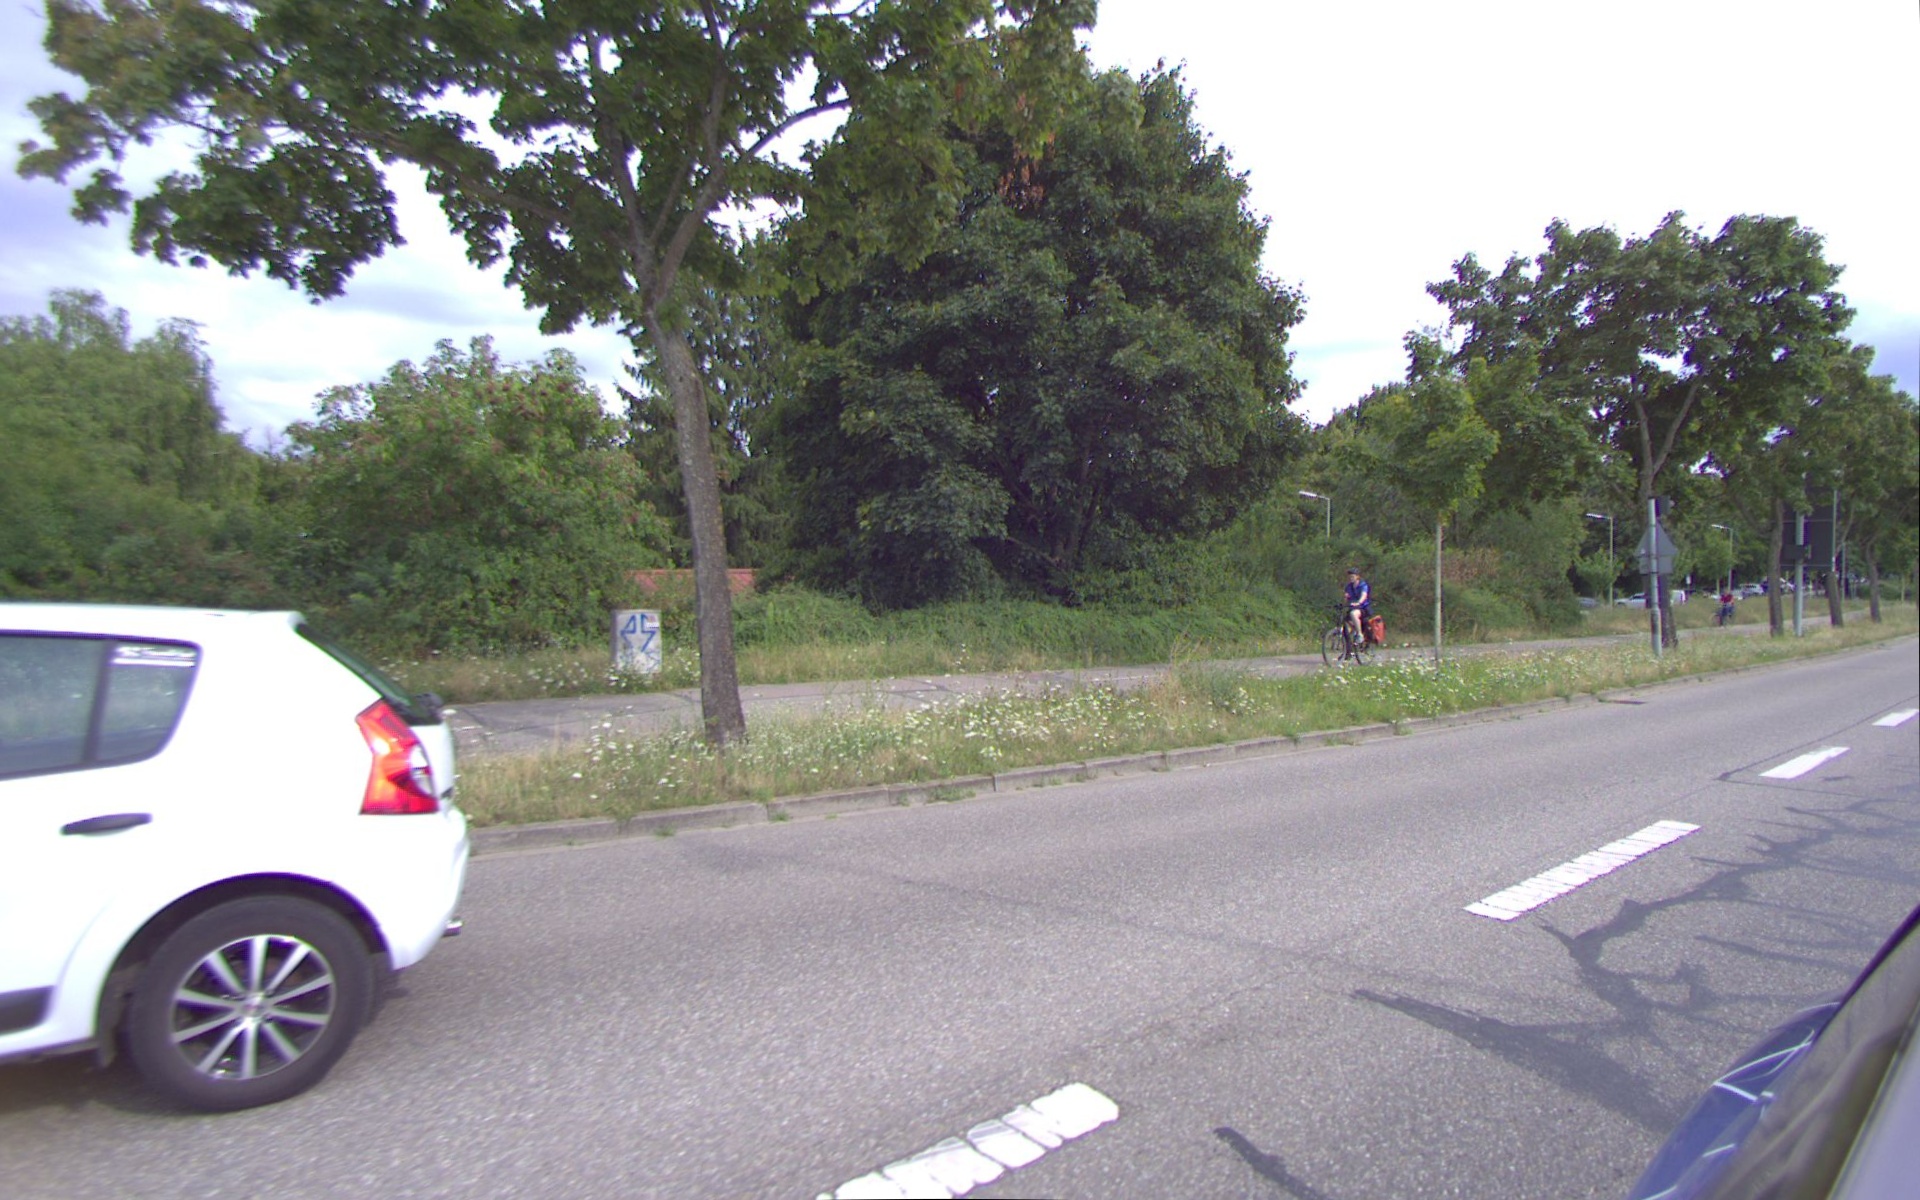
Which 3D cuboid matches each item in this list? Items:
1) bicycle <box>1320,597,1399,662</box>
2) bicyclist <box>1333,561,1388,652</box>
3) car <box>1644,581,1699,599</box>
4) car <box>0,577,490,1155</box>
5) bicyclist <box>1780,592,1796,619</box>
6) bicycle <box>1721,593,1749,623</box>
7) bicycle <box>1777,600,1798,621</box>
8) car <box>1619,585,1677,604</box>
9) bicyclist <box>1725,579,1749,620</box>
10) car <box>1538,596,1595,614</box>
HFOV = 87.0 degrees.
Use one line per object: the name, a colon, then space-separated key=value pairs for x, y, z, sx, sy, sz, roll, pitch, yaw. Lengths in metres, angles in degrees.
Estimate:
bicycle: x=7.605 y=0.534 z=19.209 sx=1.948 sy=1.162 sz=0.574 roll=0 pitch=2 yaw=-42
bicyclist: x=7.584 y=0.118 z=19.162 sx=0.861 sy=1.678 sz=0.652 roll=-1 pitch=0 yaw=-42
car: x=66.078 y=-0.940 z=94.061 sx=3.987 sy=1.575 sz=1.626 roll=3 pitch=3 yaw=43
car: x=-3.672 y=0.729 z=3.105 sx=3.920 sy=1.521 sz=1.855 roll=-1 pitch=-1 yaw=-29
bicyclist: x=40.530 y=0.275 z=49.552 sx=0.442 sy=1.298 sz=0.539 roll=-1 pitch=0 yaw=-42
bicycle: x=32.038 y=0.318 z=41.842 sx=2.193 sy=1.162 sz=0.514 roll=-1 pitch=2 yaw=-42
bicycle: x=40.536 y=0.529 z=49.556 sx=1.752 sy=0.976 sz=0.514 roll=-1 pitch=2 yaw=-42
car: x=60.582 y=-0.514 z=89.107 sx=3.987 sy=1.461 sz=1.626 roll=3 pitch=3 yaw=43
bicyclist: x=32.132 y=-0.025 z=41.875 sx=0.767 sy=1.678 sz=0.652 roll=-1 pitch=0 yaw=-42
car: x=44.707 y=0.325 z=74.645 sx=3.437 sy=1.206 sz=1.337 roll=2 pitch=1 yaw=43
